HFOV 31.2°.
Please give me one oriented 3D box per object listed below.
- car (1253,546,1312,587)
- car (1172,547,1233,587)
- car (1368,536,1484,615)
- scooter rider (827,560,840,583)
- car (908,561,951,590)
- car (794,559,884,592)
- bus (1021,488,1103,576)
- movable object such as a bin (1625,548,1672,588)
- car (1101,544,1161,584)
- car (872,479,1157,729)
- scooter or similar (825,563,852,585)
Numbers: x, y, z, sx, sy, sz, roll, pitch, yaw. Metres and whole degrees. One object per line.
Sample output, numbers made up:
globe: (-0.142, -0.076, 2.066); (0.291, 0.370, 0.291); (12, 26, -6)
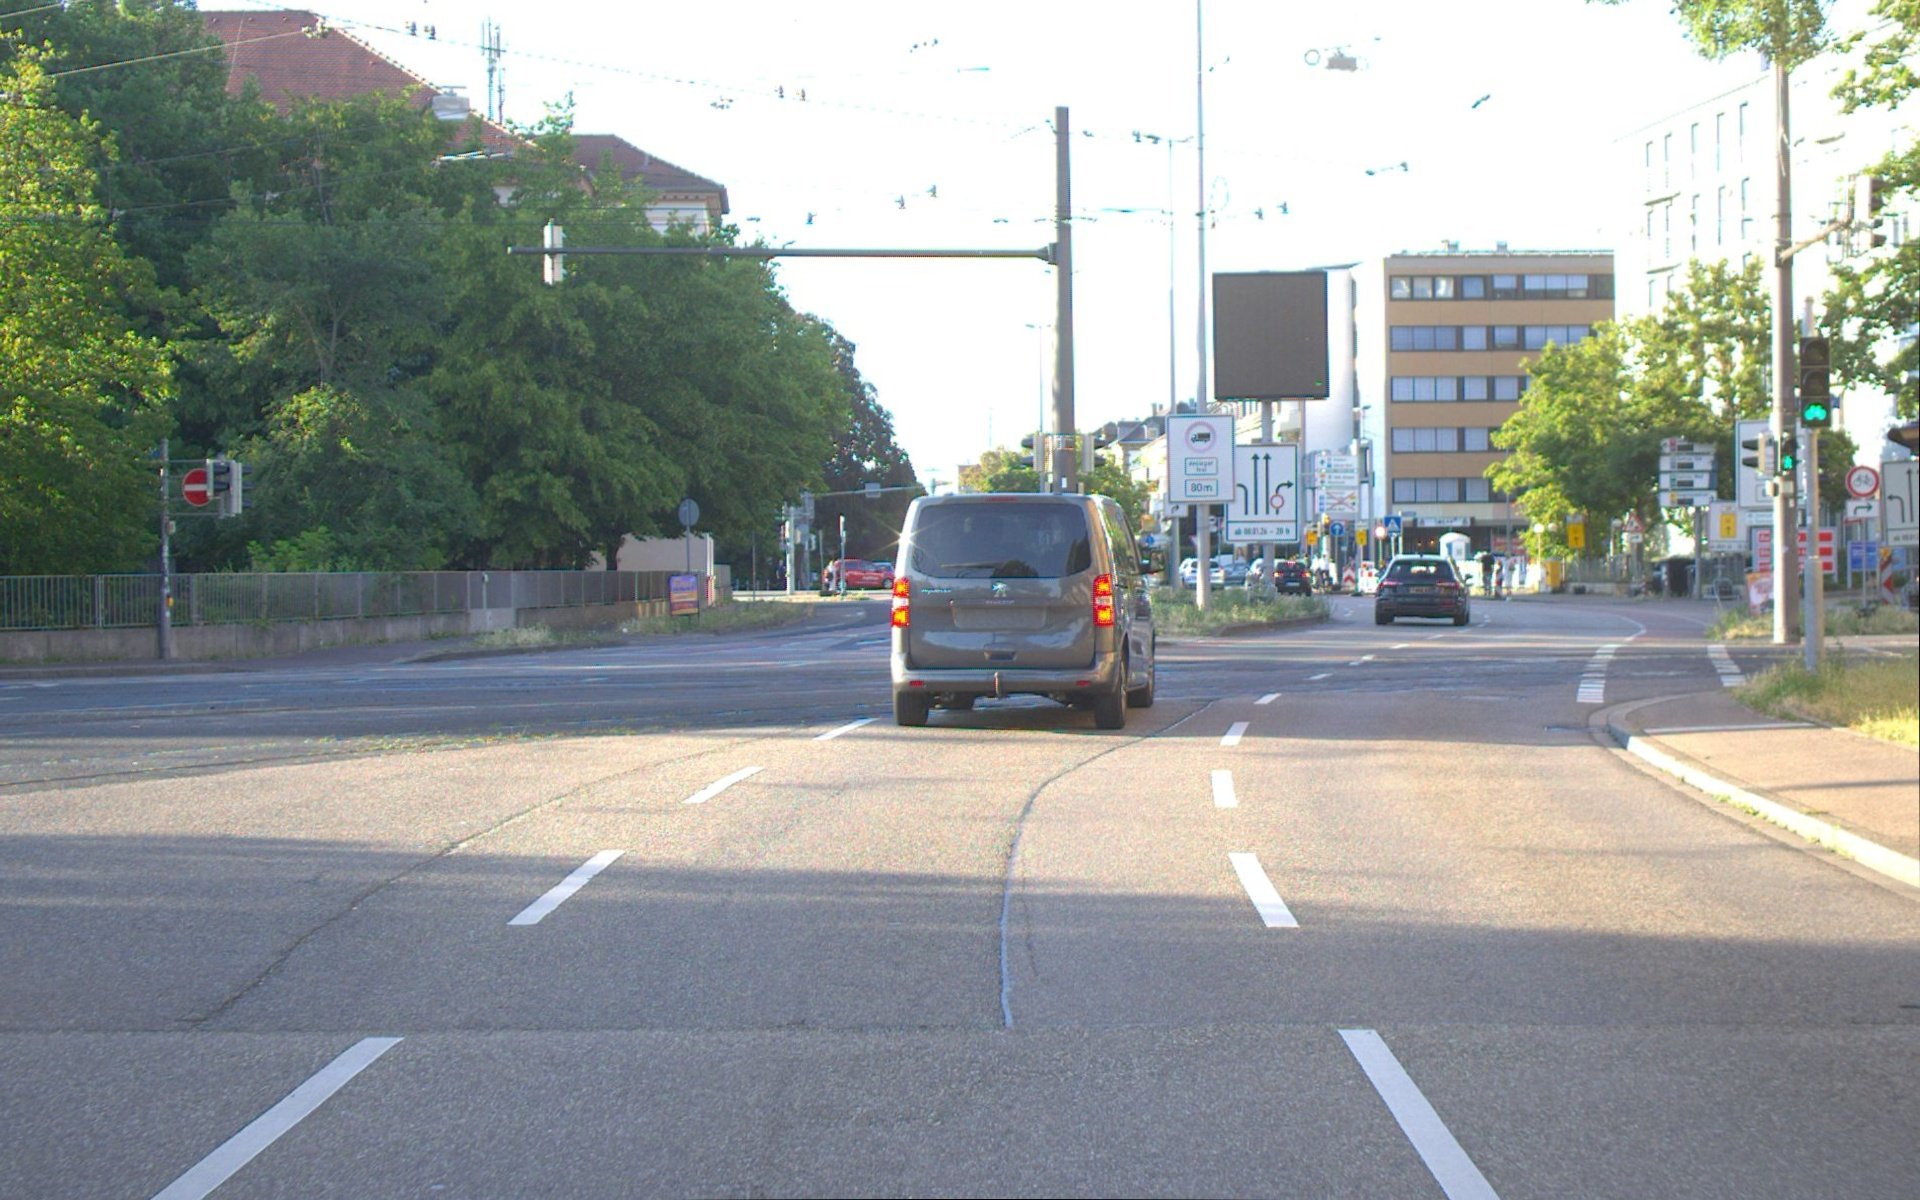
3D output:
car: (13.219, -1.391, 141.214); (1.993, 1.651, 4.299); (-1, 1, 0)
car: (10.310, -1.427, 146.318); (1.993, 1.651, 4.300); (-1, 1, -4)
car: (9.419, -0.515, 69.319); (1.847, 1.539, 3.629); (0, 1, 15)
scooter rider: (-5.616, -1.261, 152.965); (0.509, 1.032, 0.446); (1, 0, -12)
car: (-1.705, -1.372, 193.447); (1.994, 1.590, 3.999); (0, 1, 5)
car: (-5.935, -1.198, 168.717); (3.986, 1.590, 2.001); (-1, 1, -19)
bus: (5.509, -3.667, 187.338); (3.289, 4.601, 10.002); (1, 0, -5)
movable object such as a bin: (23.956, -1.122, 119.646); (1.463, 1.381, 1.546); (-1, 1, 7)
car: (7.230, -1.530, 145.482); (1.993, 1.651, 4.300); (-1, 1, -4)
car: (0.539, 0.008, 28.772); (1.994, 1.894, 4.298); (1, 1, 6)
scooter or similar: (-5.393, -1.149, 153.003); (1.098, 0.973, 0.559); (1, 0, -11)
